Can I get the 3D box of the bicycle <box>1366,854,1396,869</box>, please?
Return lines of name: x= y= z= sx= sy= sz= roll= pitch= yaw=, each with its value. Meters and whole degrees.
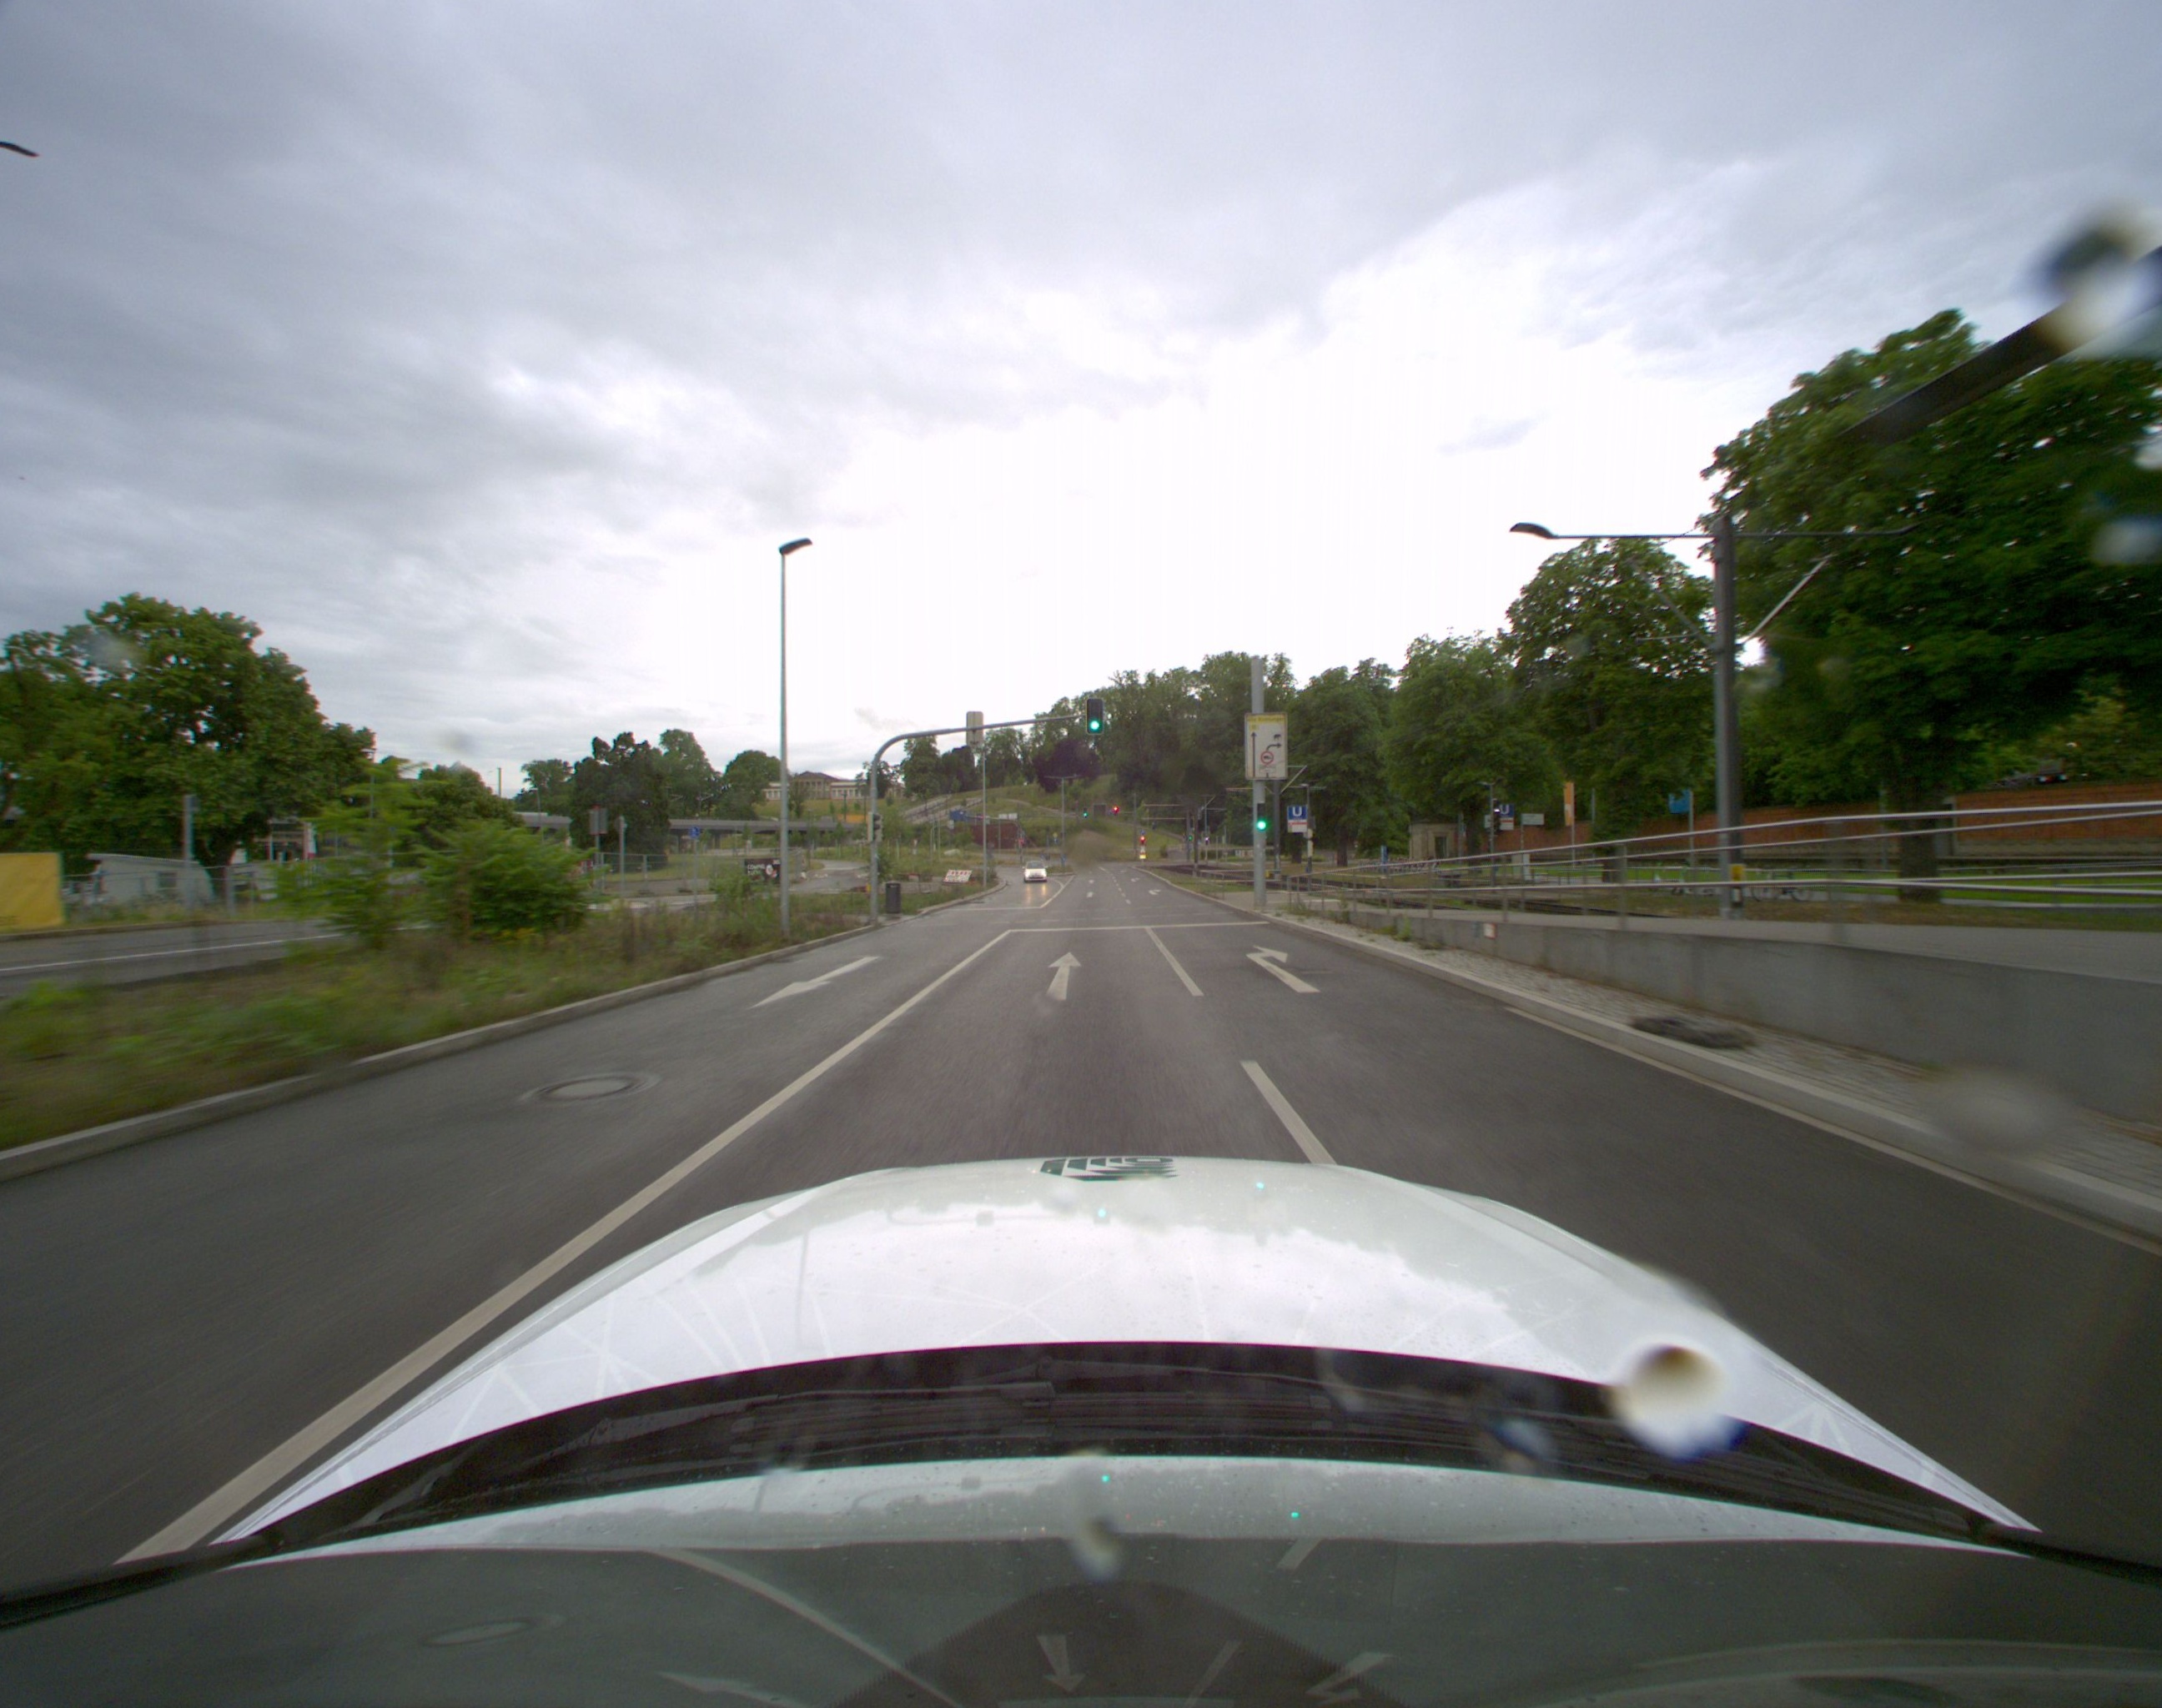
bicycle: x=20.654 y=0.508 z=56.116 sx=1.805 sy=1.032 sz=0.652 roll=-2 pitch=0 yaw=-1

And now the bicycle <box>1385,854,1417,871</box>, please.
bicycle: x=20.570 y=0.530 z=52.321 sx=1.805 sy=1.034 sz=0.652 roll=-2 pitch=0 yaw=-2

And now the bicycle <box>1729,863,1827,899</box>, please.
bicycle: x=19.989 y=0.766 z=23.372 sx=2.314 sy=0.957 sz=0.570 roll=-2 pitch=0 yaw=-1

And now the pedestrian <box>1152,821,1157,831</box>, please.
pedestrian: x=14.442 y=-5.521 z=160.526 sx=0.790 sy=2.012 sz=0.654 roll=-5 pitch=6 yaw=-15

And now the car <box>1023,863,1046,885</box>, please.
car: x=-3.409 y=1.450 z=59.243 sx=1.584 sy=1.491 sz=3.708 roll=-2 pitch=-1 yaw=-5

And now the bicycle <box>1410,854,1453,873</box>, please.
bicycle: x=20.702 y=0.567 z=48.154 sx=2.216 sy=1.032 sz=0.689 roll=-2 pitch=0 yaw=-2

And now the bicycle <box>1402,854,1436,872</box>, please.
bicycle: x=20.739 y=0.546 z=49.926 sx=1.805 sy=1.032 sz=0.652 roll=-2 pitch=0 yaw=-1

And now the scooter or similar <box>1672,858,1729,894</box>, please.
scooter or similar: x=20.449 y=0.711 z=26.899 sx=1.538 sy=1.137 sz=0.431 roll=-2 pitch=0 yaw=-1

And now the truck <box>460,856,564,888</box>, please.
truck: x=-53.957 y=1.647 z=77.419 sx=7.998 sy=2.802 sz=2.397 roll=-1 pitch=0 yaw=-37

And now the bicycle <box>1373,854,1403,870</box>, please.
bicycle: x=20.815 y=0.509 z=55.216 sx=1.805 sy=1.032 sz=0.652 roll=-2 pitch=0 yaw=-1

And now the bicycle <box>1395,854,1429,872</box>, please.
bicycle: x=20.631 y=0.546 z=50.773 sx=1.841 sy=1.032 sz=0.652 roll=-2 pitch=0 yaw=-1

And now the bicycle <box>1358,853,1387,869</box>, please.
bicycle: x=20.729 y=0.494 z=57.868 sx=1.805 sy=1.032 sz=0.652 roll=-2 pitch=0 yaw=-1

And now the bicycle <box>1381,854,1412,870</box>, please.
bicycle: x=20.891 y=0.516 z=53.906 sx=1.805 sy=1.032 sz=0.652 roll=-2 pitch=0 yaw=-1

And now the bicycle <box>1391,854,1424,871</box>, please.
bicycle: x=20.679 y=0.546 z=51.547 sx=1.805 sy=1.032 sz=0.652 roll=-2 pitch=0 yaw=-1

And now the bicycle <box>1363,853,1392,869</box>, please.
bicycle: x=20.760 y=0.498 z=56.985 sx=1.805 sy=1.032 sz=0.652 roll=-2 pitch=0 yaw=-1

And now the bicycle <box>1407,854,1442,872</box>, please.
bicycle: x=20.711 y=0.551 z=49.130 sx=1.805 sy=1.032 sz=0.652 roll=-2 pitch=0 yaw=-1

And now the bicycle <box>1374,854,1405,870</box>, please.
bicycle: x=20.680 y=0.518 z=54.533 sx=1.829 sy=1.032 sz=0.652 roll=-2 pitch=0 yaw=-2

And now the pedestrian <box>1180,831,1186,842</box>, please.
pedestrian: x=17.590 y=-2.986 z=140.076 sx=0.953 sy=1.781 sz=1.124 roll=1 pitch=1 yaw=6
